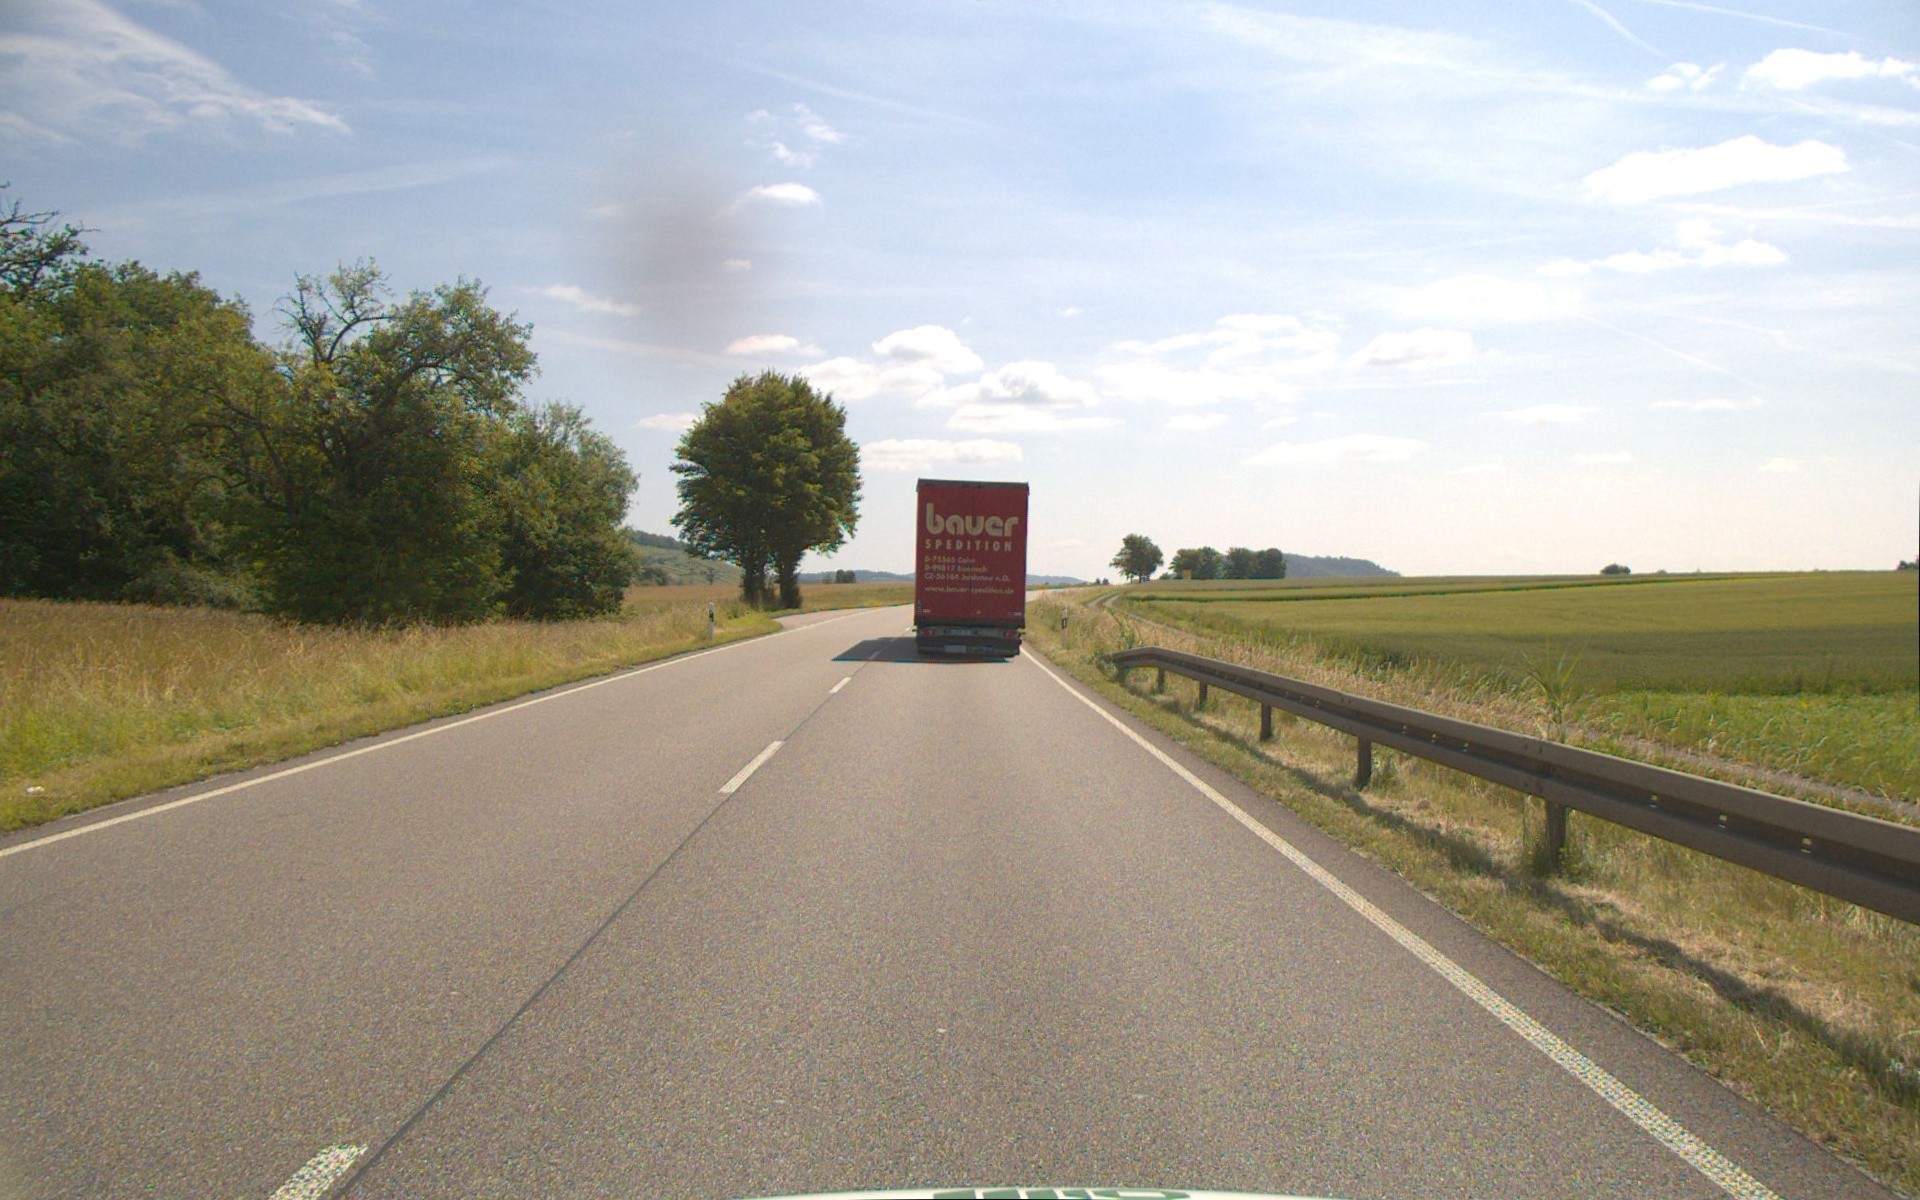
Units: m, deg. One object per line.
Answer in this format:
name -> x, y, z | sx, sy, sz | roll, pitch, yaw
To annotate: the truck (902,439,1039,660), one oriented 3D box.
truck -> 0.078, -1.079, 41.222 | 2.915, 4.796, 9.362 | 2, 0, -2
